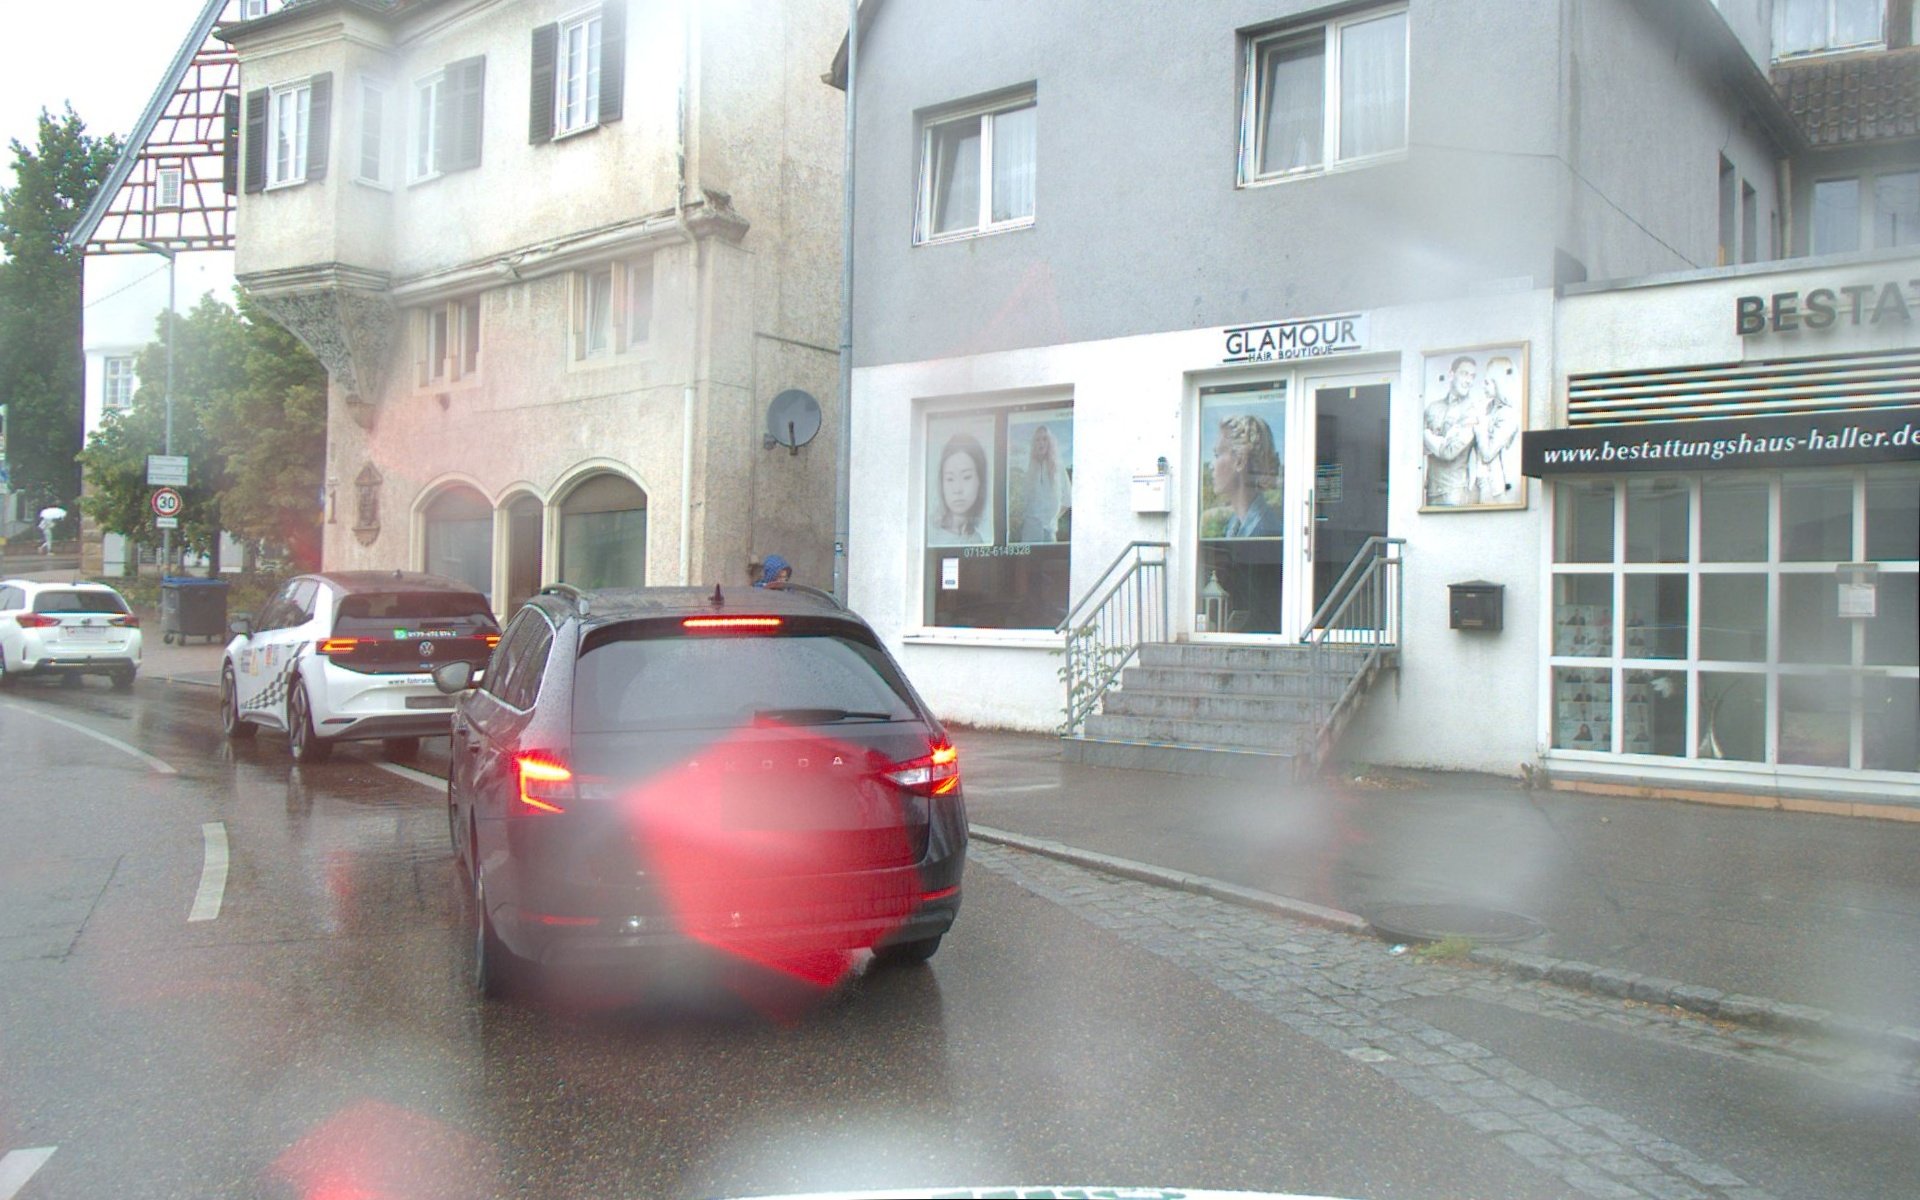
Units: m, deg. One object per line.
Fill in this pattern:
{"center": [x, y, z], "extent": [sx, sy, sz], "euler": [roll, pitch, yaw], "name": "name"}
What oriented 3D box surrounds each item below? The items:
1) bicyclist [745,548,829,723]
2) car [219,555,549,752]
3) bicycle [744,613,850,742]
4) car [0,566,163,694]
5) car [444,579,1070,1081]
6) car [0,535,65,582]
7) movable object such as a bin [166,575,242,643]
{"center": [-1.601, 0.311, 15.189], "extent": [0.671, 1.544, 1.028], "euler": [1, 1, -10], "name": "bicyclist"}
{"center": [-5.279, 0.352, 14.852], "extent": [1.841, 1.498, 3.952], "euler": [-1, 2, -34], "name": "car"}
{"center": [-1.545, 0.685, 15.379], "extent": [0.748, 1.053, 2.076], "euler": [4, 0, -11], "name": "bicycle"}
{"center": [-13.206, 0.367, 23.891], "extent": [1.876, 1.623, 4.258], "euler": [2, 1, -43], "name": "car"}
{"center": [-1.229, 0.696, 7.350], "extent": [1.858, 1.473, 4.333], "euler": [2, 1, -19], "name": "car"}
{"center": [-34.748, -1.511, 59.174], "extent": [1.956, 1.619, 4.472], "euler": [1, 0, 28], "name": "car"}
{"center": [-15.320, 0.175, 33.504], "extent": [1.146, 1.336, 1.170], "euler": [1, 0, -38], "name": "movable object such as a bin"}
